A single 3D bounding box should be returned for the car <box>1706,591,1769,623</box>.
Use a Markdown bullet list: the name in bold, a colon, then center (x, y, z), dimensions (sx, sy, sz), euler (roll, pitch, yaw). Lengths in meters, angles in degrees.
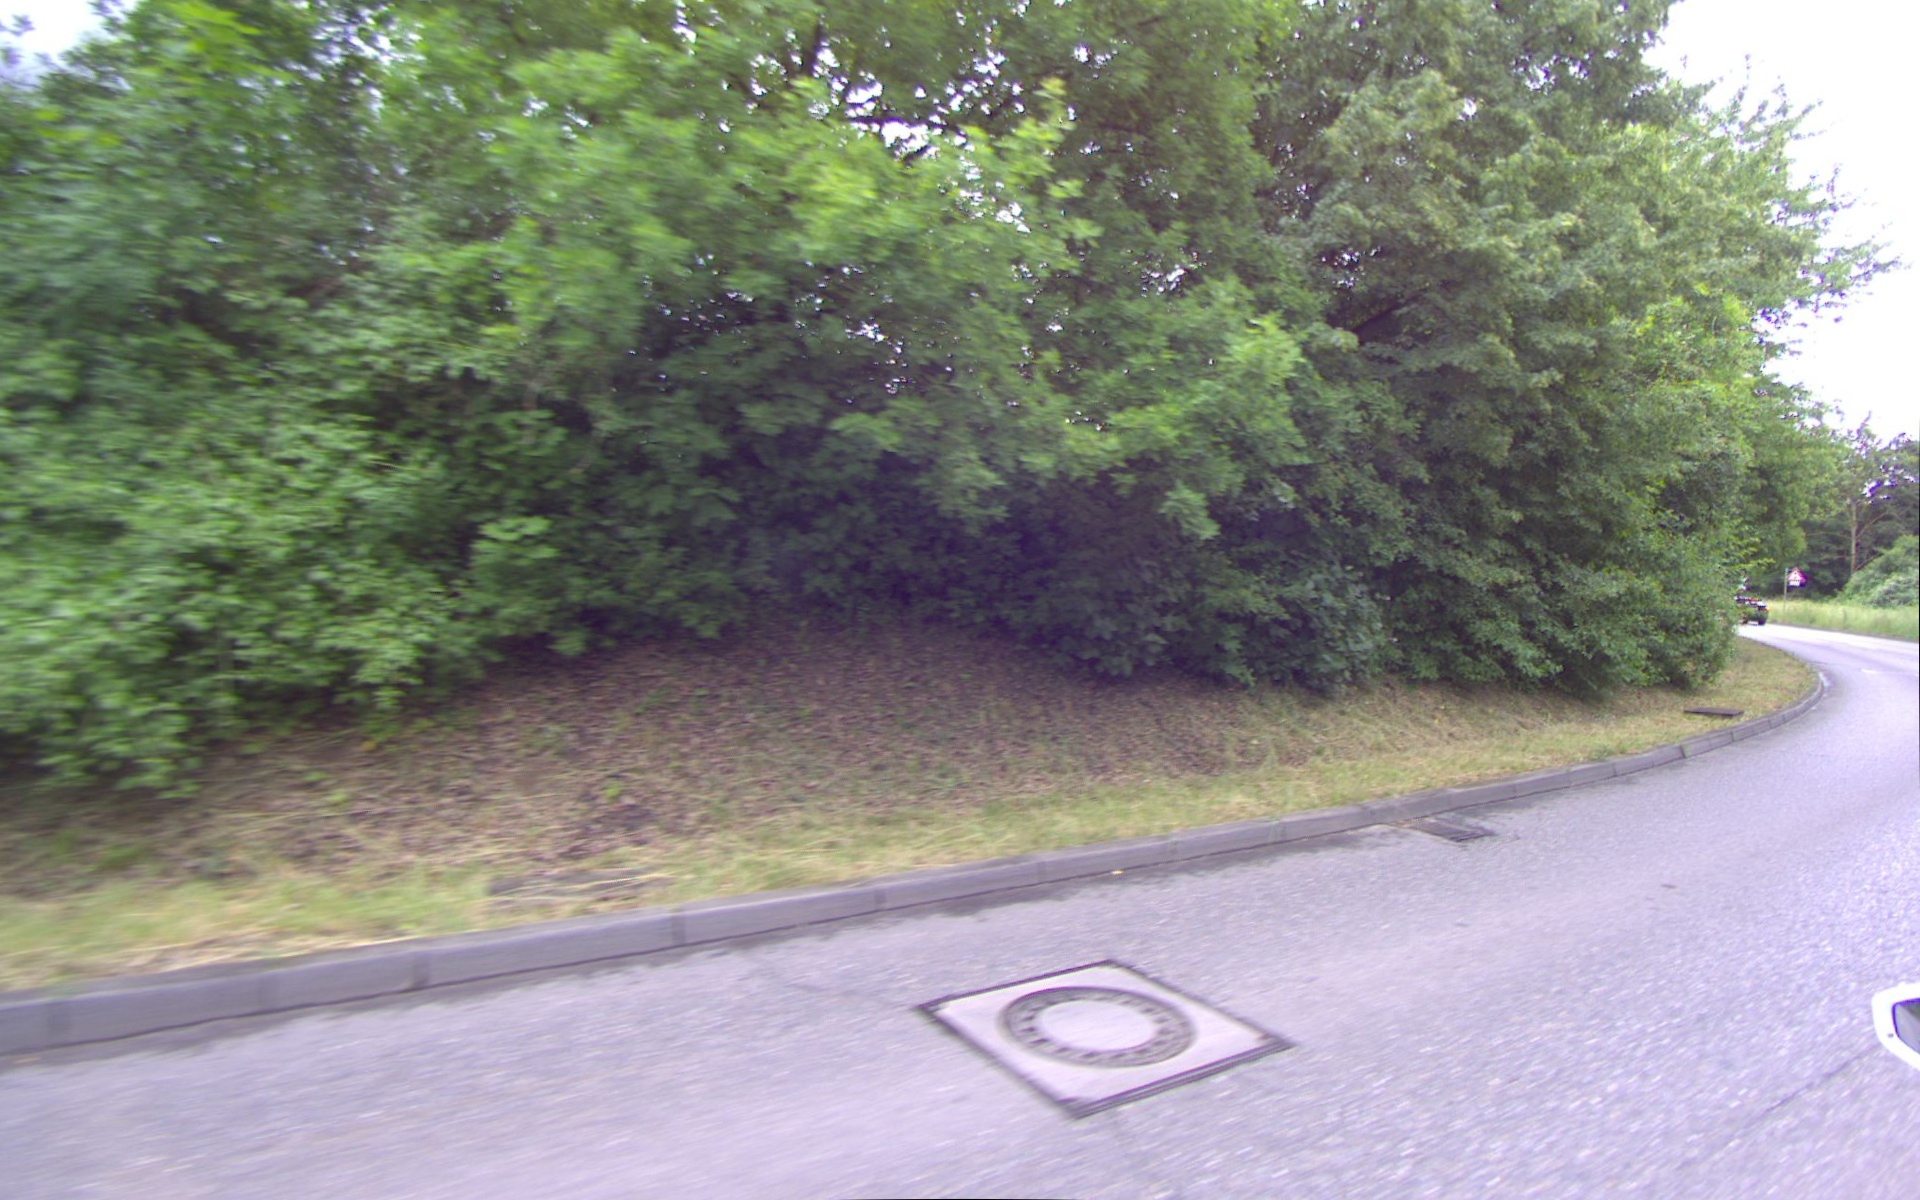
- **car**: center (41.663, 0.338, 53.913), dimensions (1.811, 1.406, 3.994), euler (3, 4, 26)
